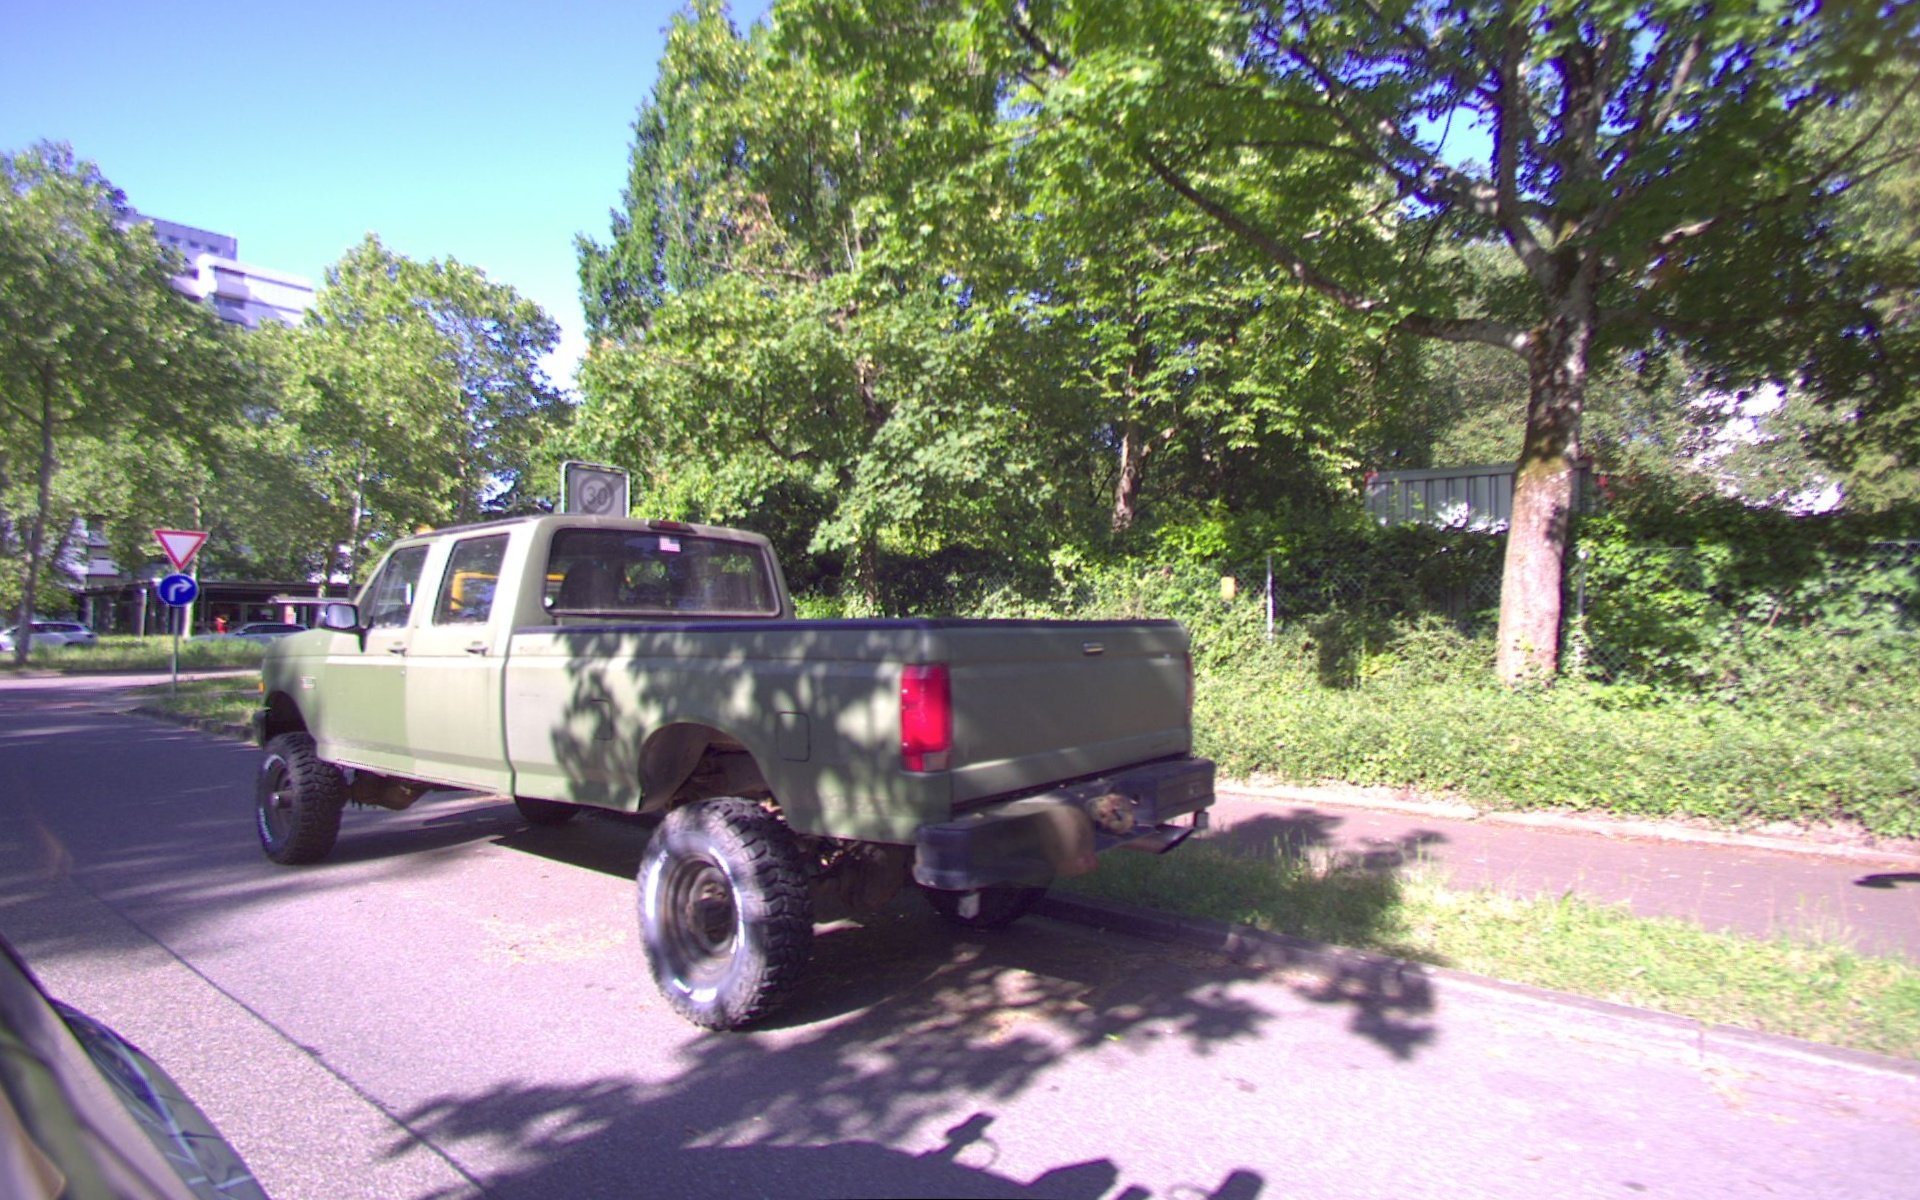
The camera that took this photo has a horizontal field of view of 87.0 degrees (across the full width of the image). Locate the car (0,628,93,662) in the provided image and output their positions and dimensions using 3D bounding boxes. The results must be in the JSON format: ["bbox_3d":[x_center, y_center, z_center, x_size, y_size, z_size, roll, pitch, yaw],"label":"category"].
[{"bbox_3d":[-37.857,1.828,41.037,1.620,1.229,4.008,-1,0,44],"label":"car"}]

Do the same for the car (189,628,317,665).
[{"bbox_3d":[-31.406,2.020,45.032,1.619,1.402,4.423,-1,0,42],"label":"car"}]

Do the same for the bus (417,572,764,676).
[{"bbox_3d":[-12.985,0.711,37.114,2.698,3.294,11.977,-1,0,44],"label":"bus"}]

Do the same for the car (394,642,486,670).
[{"bbox_3d":[-27.197,2.915,53.002,1.620,1.229,4.008,-1,0,44],"label":"car"}]

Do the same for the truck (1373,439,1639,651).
[{"bbox_3d":[6.601,-0.431,12.025,2.200,2.029,3.950,-1,-4,37],"label":"truck"}]

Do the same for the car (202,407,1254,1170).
[{"bbox_3d":[-1.926,0.596,5.686,6.575,2.112,2.099,-1,-2,38],"label":"car"}]
